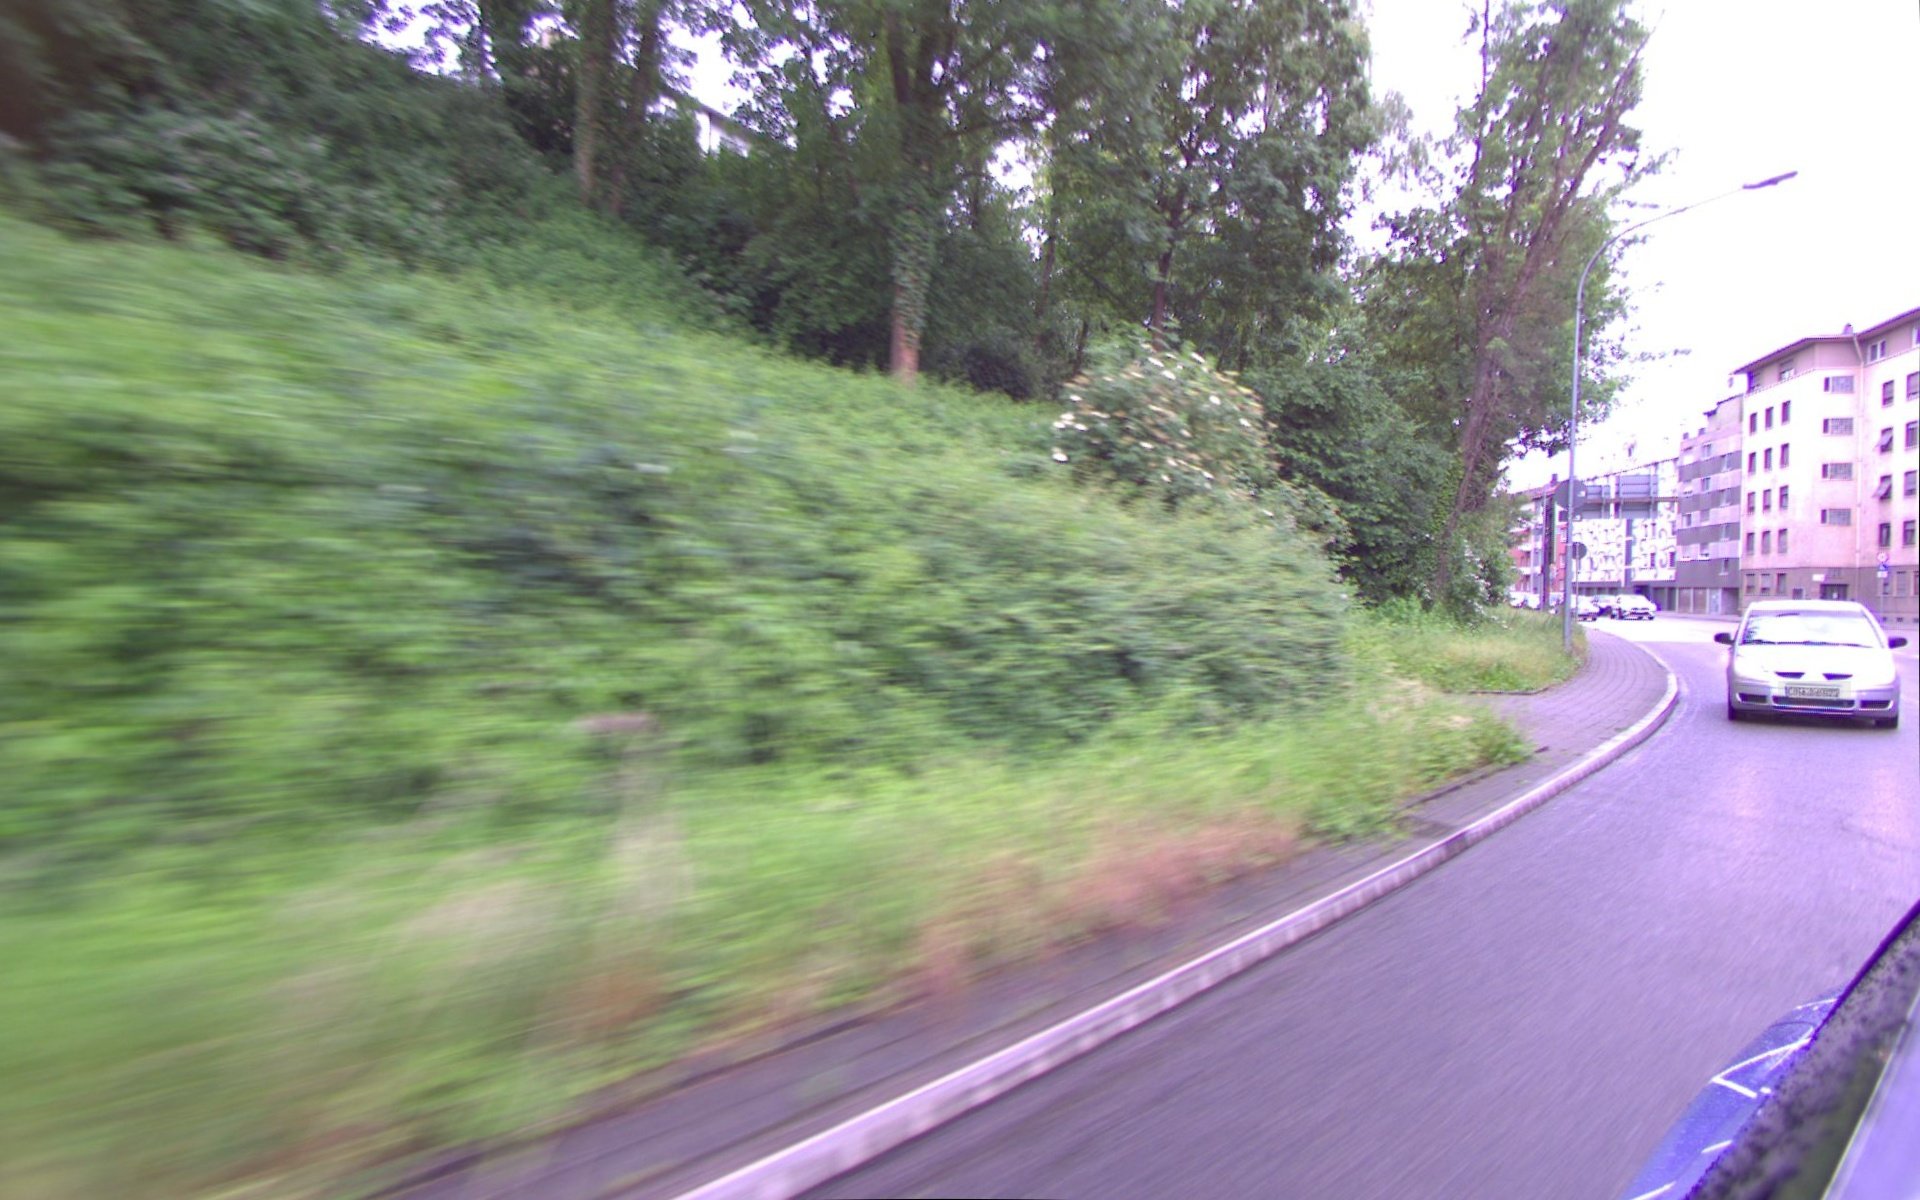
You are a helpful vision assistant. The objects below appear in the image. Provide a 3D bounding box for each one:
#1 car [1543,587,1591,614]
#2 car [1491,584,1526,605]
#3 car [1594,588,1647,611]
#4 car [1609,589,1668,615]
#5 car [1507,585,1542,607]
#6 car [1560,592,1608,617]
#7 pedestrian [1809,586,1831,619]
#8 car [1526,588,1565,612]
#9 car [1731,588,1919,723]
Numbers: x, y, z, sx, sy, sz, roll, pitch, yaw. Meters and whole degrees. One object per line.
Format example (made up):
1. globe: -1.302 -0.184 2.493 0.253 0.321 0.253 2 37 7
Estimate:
1. car: 38.995 0.016 65.154 1.977 1.637 4.584 0 1 23
2. car: 46.750 -0.449 86.326 1.886 1.733 4.865 0 0 19
3. car: 43.722 -0.067 67.103 1.896 1.496 4.589 1 1 20
4. car: 41.629 0.073 62.197 1.855 1.496 4.526 1 1 19
5. car: 44.150 -0.349 79.266 1.660 1.677 3.976 1 1 19
6. car: 36.710 0.227 59.604 1.800 1.426 4.198 0 1 24
7. pedestrian: 54.132 0.173 63.712 0.800 2.039 0.853 0 -1 18
8. car: 42.407 -0.058 73.418 1.660 1.677 3.976 1 1 19
9. car: 11.530 0.645 13.647 1.744 1.538 3.945 -1 -1 38
